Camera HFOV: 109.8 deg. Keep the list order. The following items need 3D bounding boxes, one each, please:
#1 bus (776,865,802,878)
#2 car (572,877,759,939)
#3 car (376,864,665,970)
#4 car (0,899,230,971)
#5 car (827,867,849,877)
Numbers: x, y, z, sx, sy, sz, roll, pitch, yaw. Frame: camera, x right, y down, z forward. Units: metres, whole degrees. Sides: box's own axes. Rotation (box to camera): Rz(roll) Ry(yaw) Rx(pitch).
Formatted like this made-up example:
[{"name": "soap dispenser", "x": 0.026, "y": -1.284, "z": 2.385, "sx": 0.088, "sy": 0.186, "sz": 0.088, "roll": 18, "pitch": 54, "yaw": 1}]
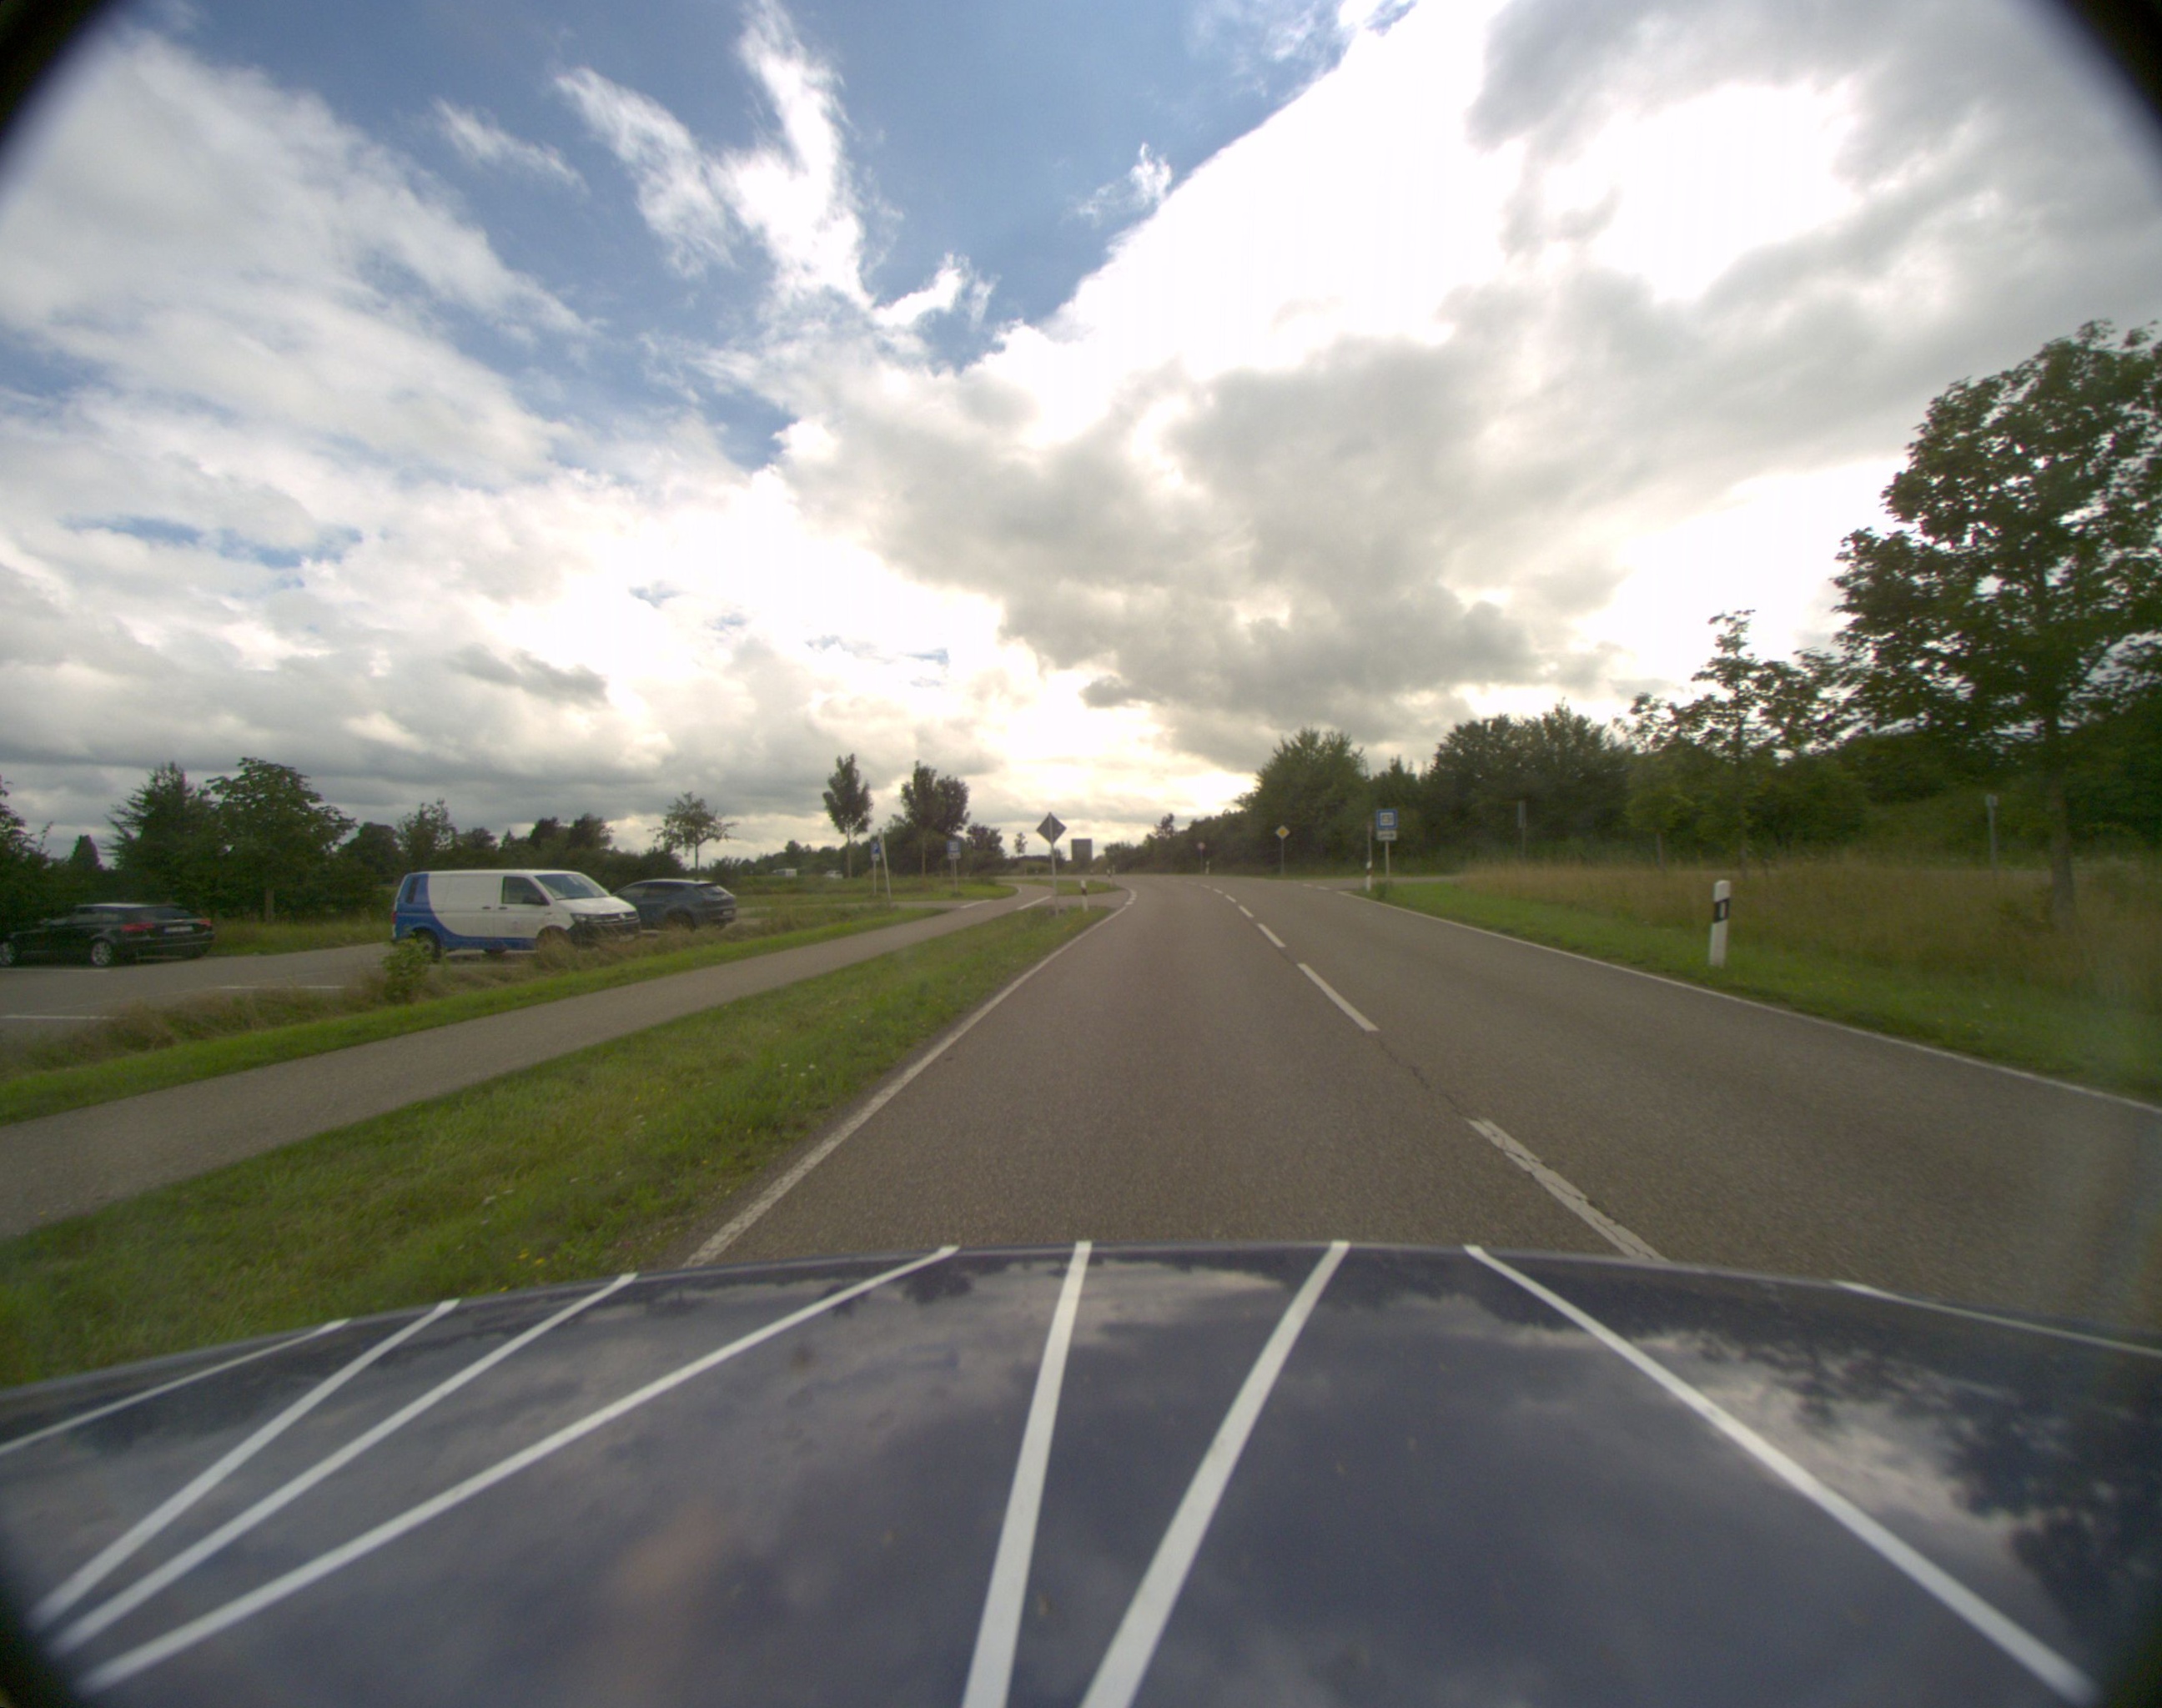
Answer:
[{"name": "bus", "x": -64.013, "y": 3.794, "z": 166.347, "sx": 2.487, "sy": 2.695, "sz": 8.409, "roll": -3, "pitch": 0, "yaw": -40}, {"name": "car", "x": -11.653, "y": 1.509, "z": 21.469, "sx": 4.281, "sy": 1.557, "sz": 1.838, "roll": -1, "pitch": 0, "yaw": 5}, {"name": "car", "x": -12.153, "y": 1.330, "z": 16.669, "sx": 4.956, "sy": 1.962, "sz": 1.956, "roll": -3, "pitch": 0, "yaw": 5}, {"name": "car", "x": -22.930, "y": 1.885, "z": 18.015, "sx": 3.695, "sy": 1.383, "sz": 1.730, "roll": -3, "pitch": 0, "yaw": 5}, {"name": "car", "x": -48.388, "y": 3.557, "z": 151.271, "sx": 2.124, "sy": 1.858, "sz": 5.173, "roll": -3, "pitch": 0, "yaw": -43}]
